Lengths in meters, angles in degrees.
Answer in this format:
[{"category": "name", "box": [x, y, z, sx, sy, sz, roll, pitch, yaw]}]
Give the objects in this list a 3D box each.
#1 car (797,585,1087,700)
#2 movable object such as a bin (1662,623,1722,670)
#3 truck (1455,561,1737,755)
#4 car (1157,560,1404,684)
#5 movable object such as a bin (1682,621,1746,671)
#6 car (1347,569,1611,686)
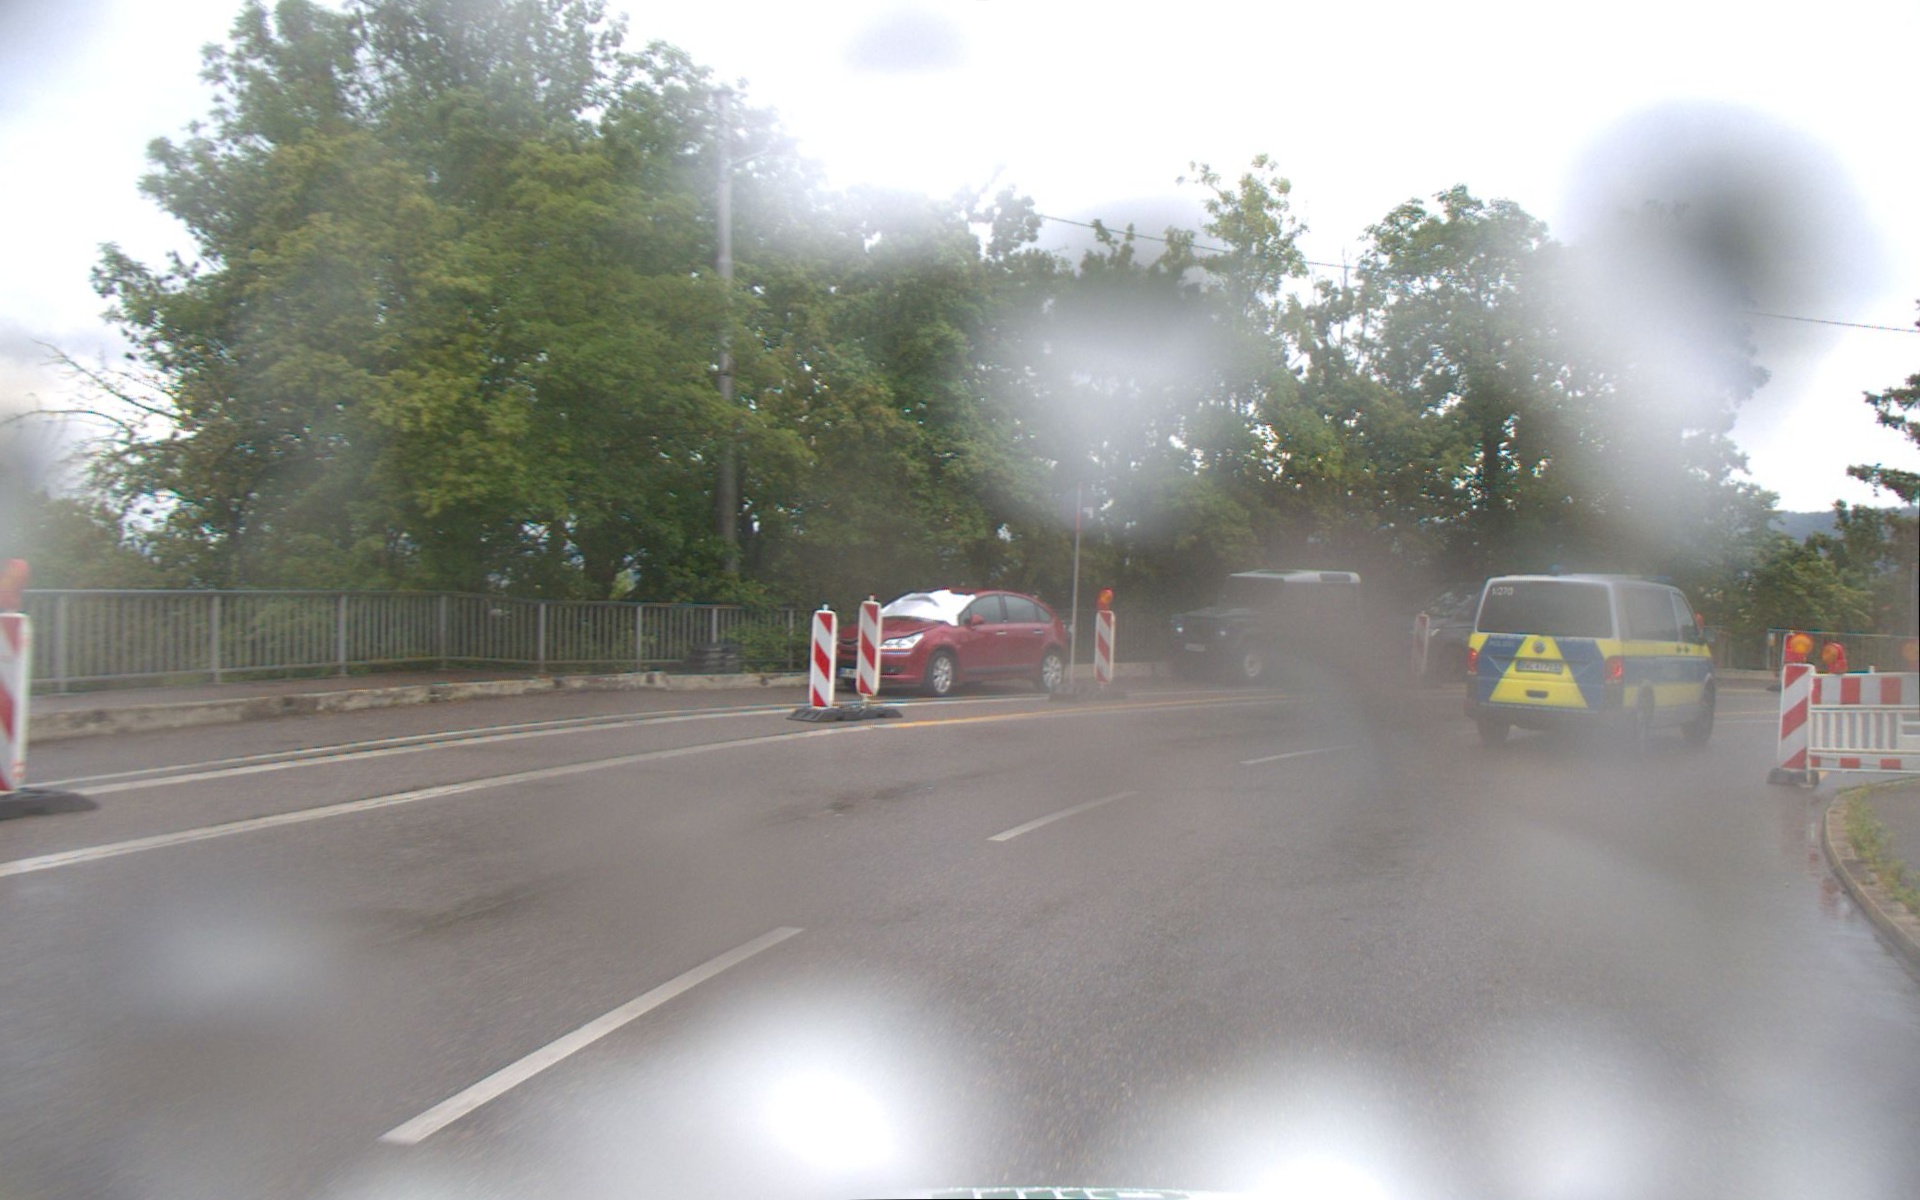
[{"category": "car", "box": [-0.165, 0.586, 24.187, 1.930, 1.465, 4.301, 2, 1, 39]}, {"category": "movable object such as a bin", "box": [18.259, 1.148, 41.266, 1.004, 1.126, 0.988, 1, 0, -7]}, {"category": "truck", "box": [7.766, 0.649, 19.912, 1.961, 2.049, 4.714, 0, -1, 37]}, {"category": "car", "box": [5.943, 0.394, 30.304, 4.769, 2.048, 1.844, 1, 2, -41]}, {"category": "movable object such as a bin", "box": [18.319, 1.114, 40.214, 1.004, 1.126, 0.988, 3, 0, -7]}, {"category": "car", "box": [10.348, 0.545, 32.932, 4.868, 2.048, 1.986, 3, 1, -24]}]
